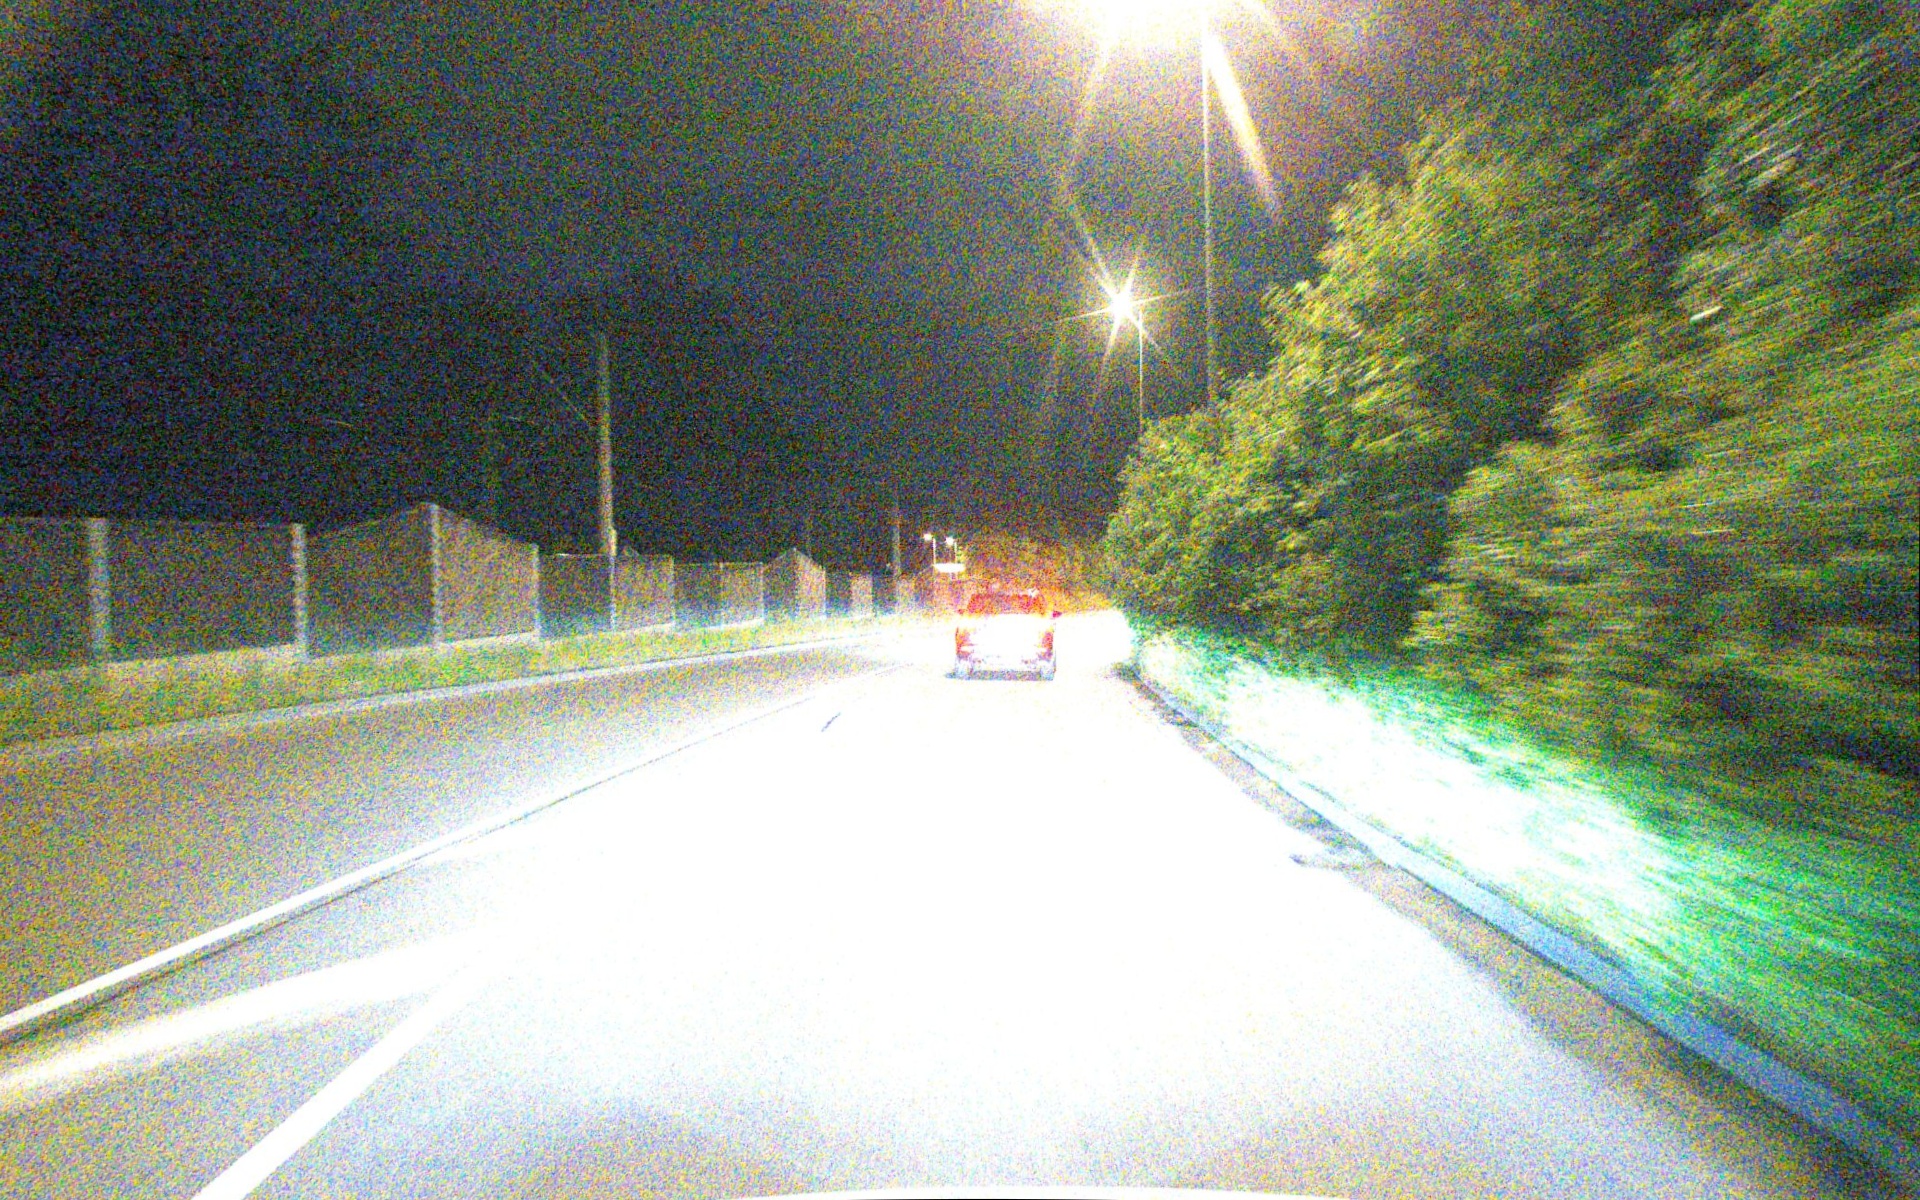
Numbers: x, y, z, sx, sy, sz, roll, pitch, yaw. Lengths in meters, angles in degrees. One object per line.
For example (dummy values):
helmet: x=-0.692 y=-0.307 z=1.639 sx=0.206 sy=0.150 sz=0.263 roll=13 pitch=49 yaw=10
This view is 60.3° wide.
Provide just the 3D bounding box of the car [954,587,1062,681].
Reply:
car: x=0.952 y=0.580 z=30.534 sx=1.776 sy=1.601 sz=3.946 roll=1 pitch=0 yaw=5
